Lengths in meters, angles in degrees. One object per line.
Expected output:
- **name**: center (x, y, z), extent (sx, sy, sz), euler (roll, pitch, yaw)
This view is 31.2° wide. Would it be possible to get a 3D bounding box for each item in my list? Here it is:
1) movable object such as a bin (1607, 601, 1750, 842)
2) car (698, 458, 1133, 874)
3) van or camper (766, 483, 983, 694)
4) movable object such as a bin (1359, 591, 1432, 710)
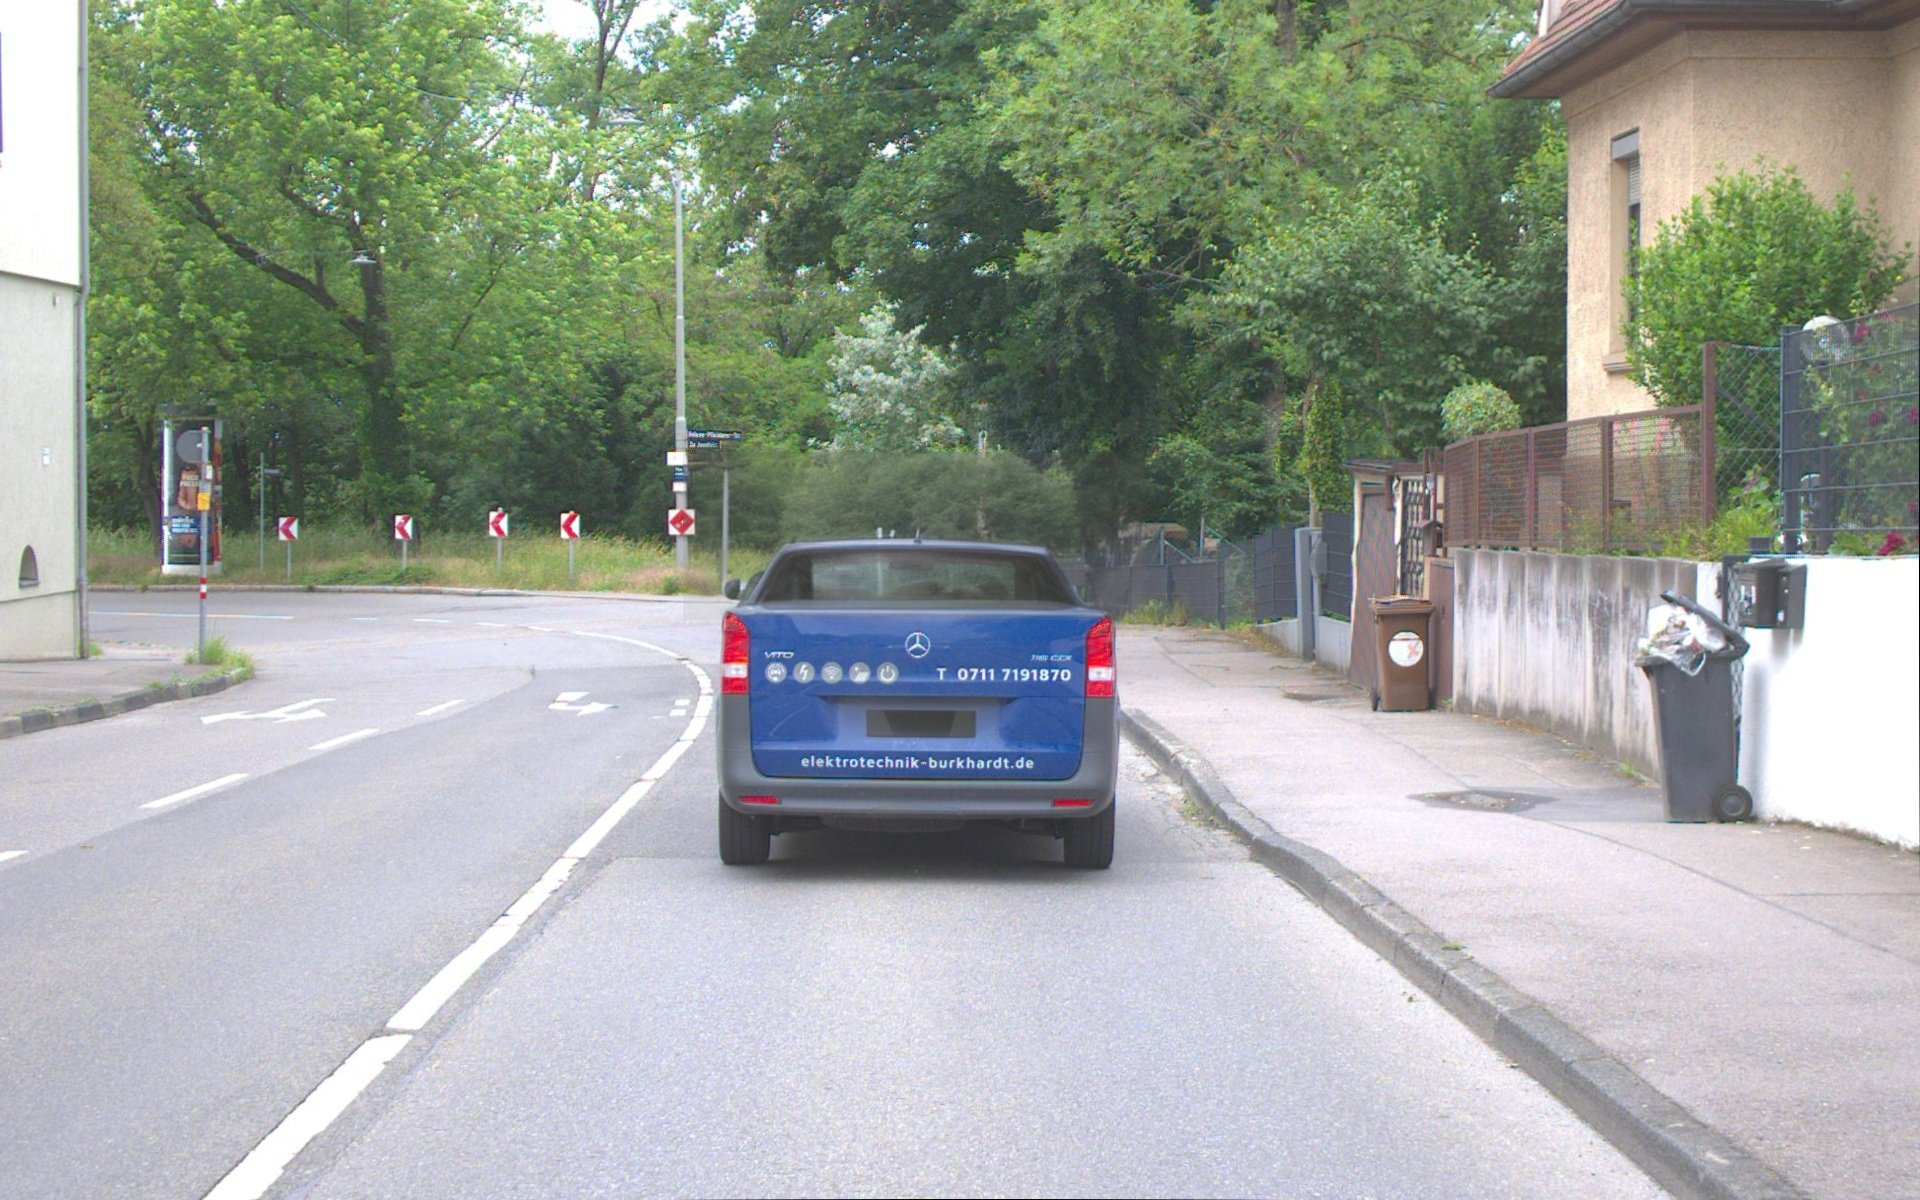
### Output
- **movable object such as a bin**: center (3.670, 0.609, 17.593), extent (0.527, 1.174, 0.634), euler (-3, 1, -2)
- **car**: center (-0.322, 0.254, 17.419), extent (1.913, 1.831, 4.294), euler (1, 1, -3)
- **van or camper**: center (-0.939, -0.188, 35.806), extent (2.019, 1.950, 4.897), euler (-3, 2, -3)
- **movable object such as a bin**: center (3.536, 0.406, 27.940), extent (0.461, 0.921, 0.566), euler (-3, 1, -2)
